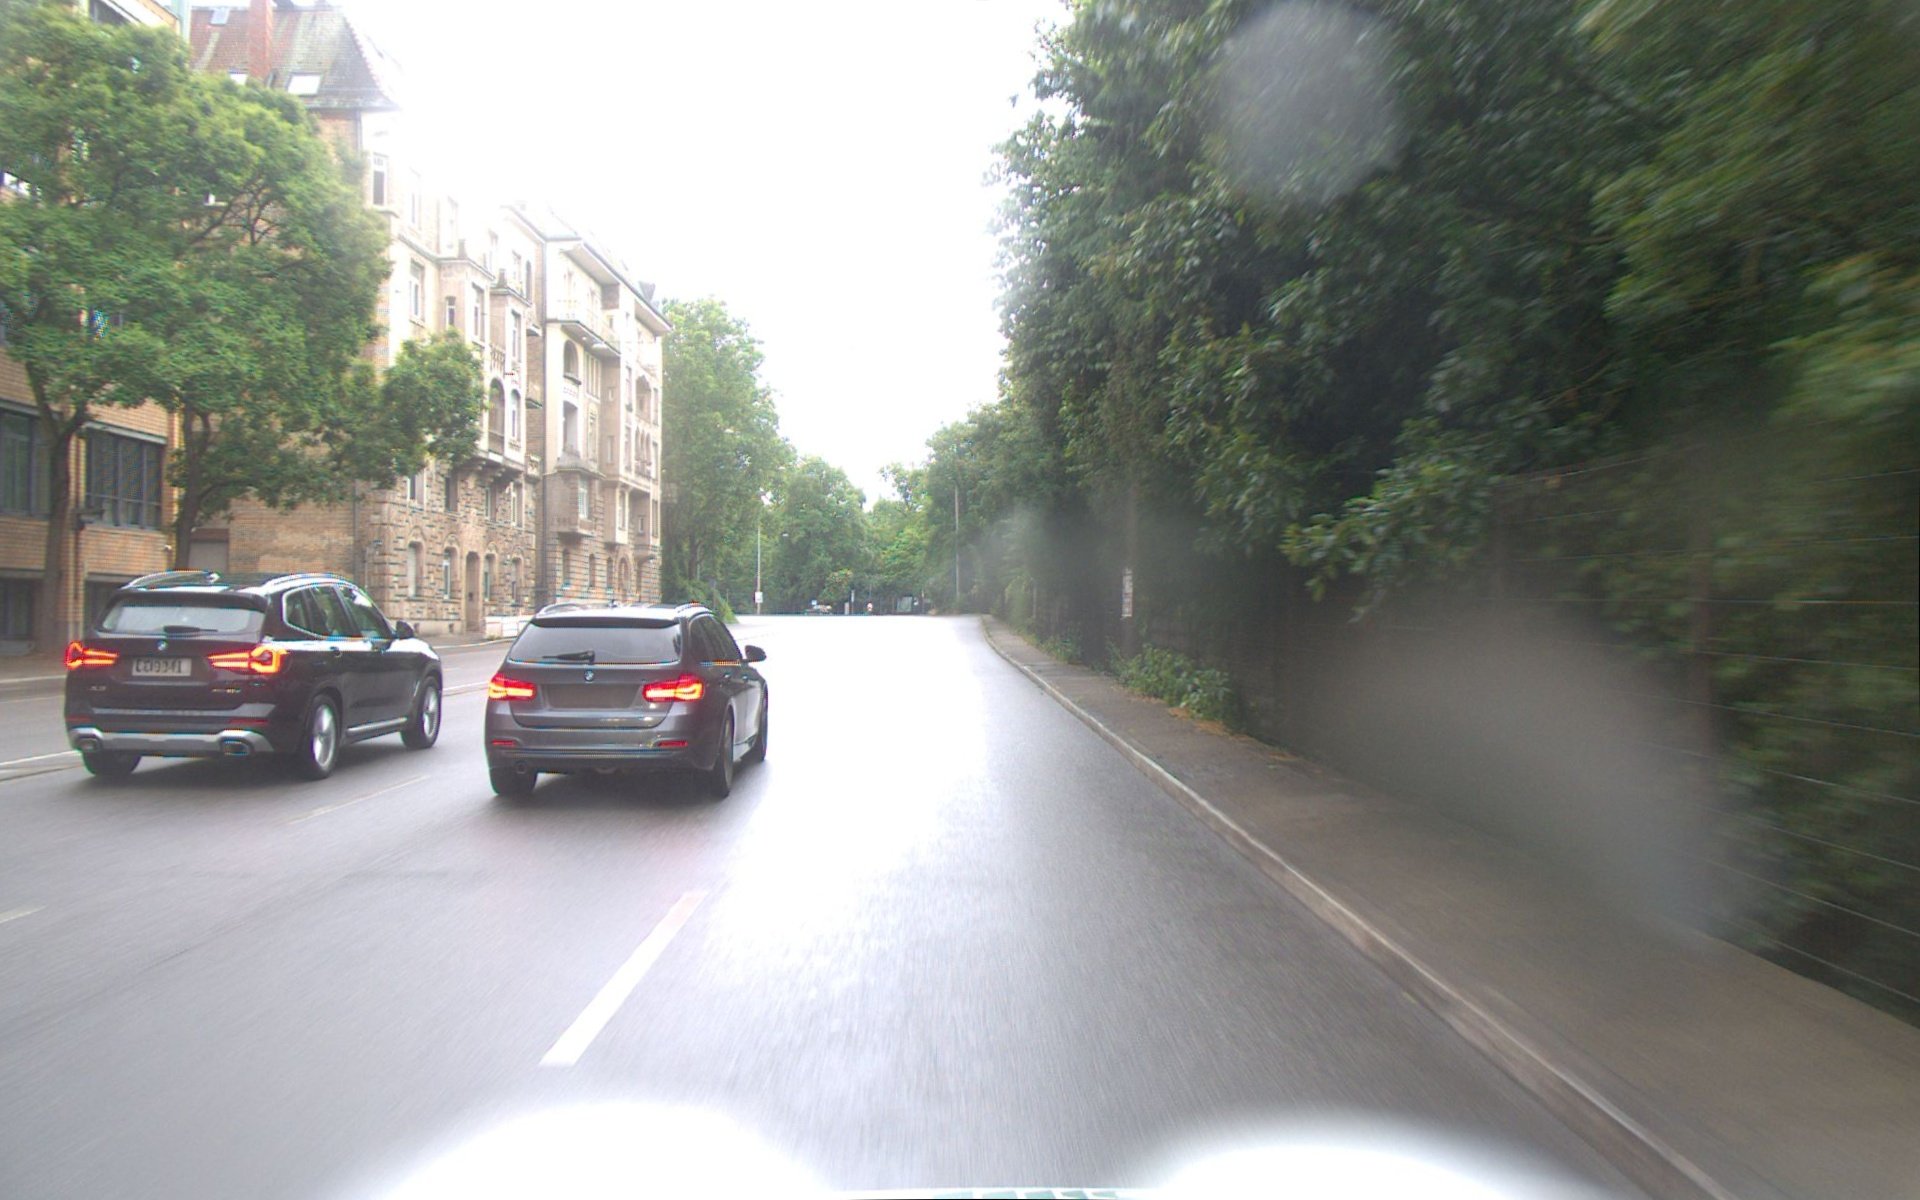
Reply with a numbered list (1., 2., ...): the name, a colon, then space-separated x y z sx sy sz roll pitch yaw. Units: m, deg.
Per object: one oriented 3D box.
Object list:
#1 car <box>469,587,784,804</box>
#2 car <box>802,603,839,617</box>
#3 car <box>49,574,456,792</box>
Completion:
1. car: -2.542 0.668 13.664 1.722 1.457 4.411 2 0 -1
2. car: -15.862 1.170 188.147 4.295 1.452 1.681 0 -3 44
3. car: -5.955 0.627 14.561 1.722 1.614 4.411 1 0 -1
